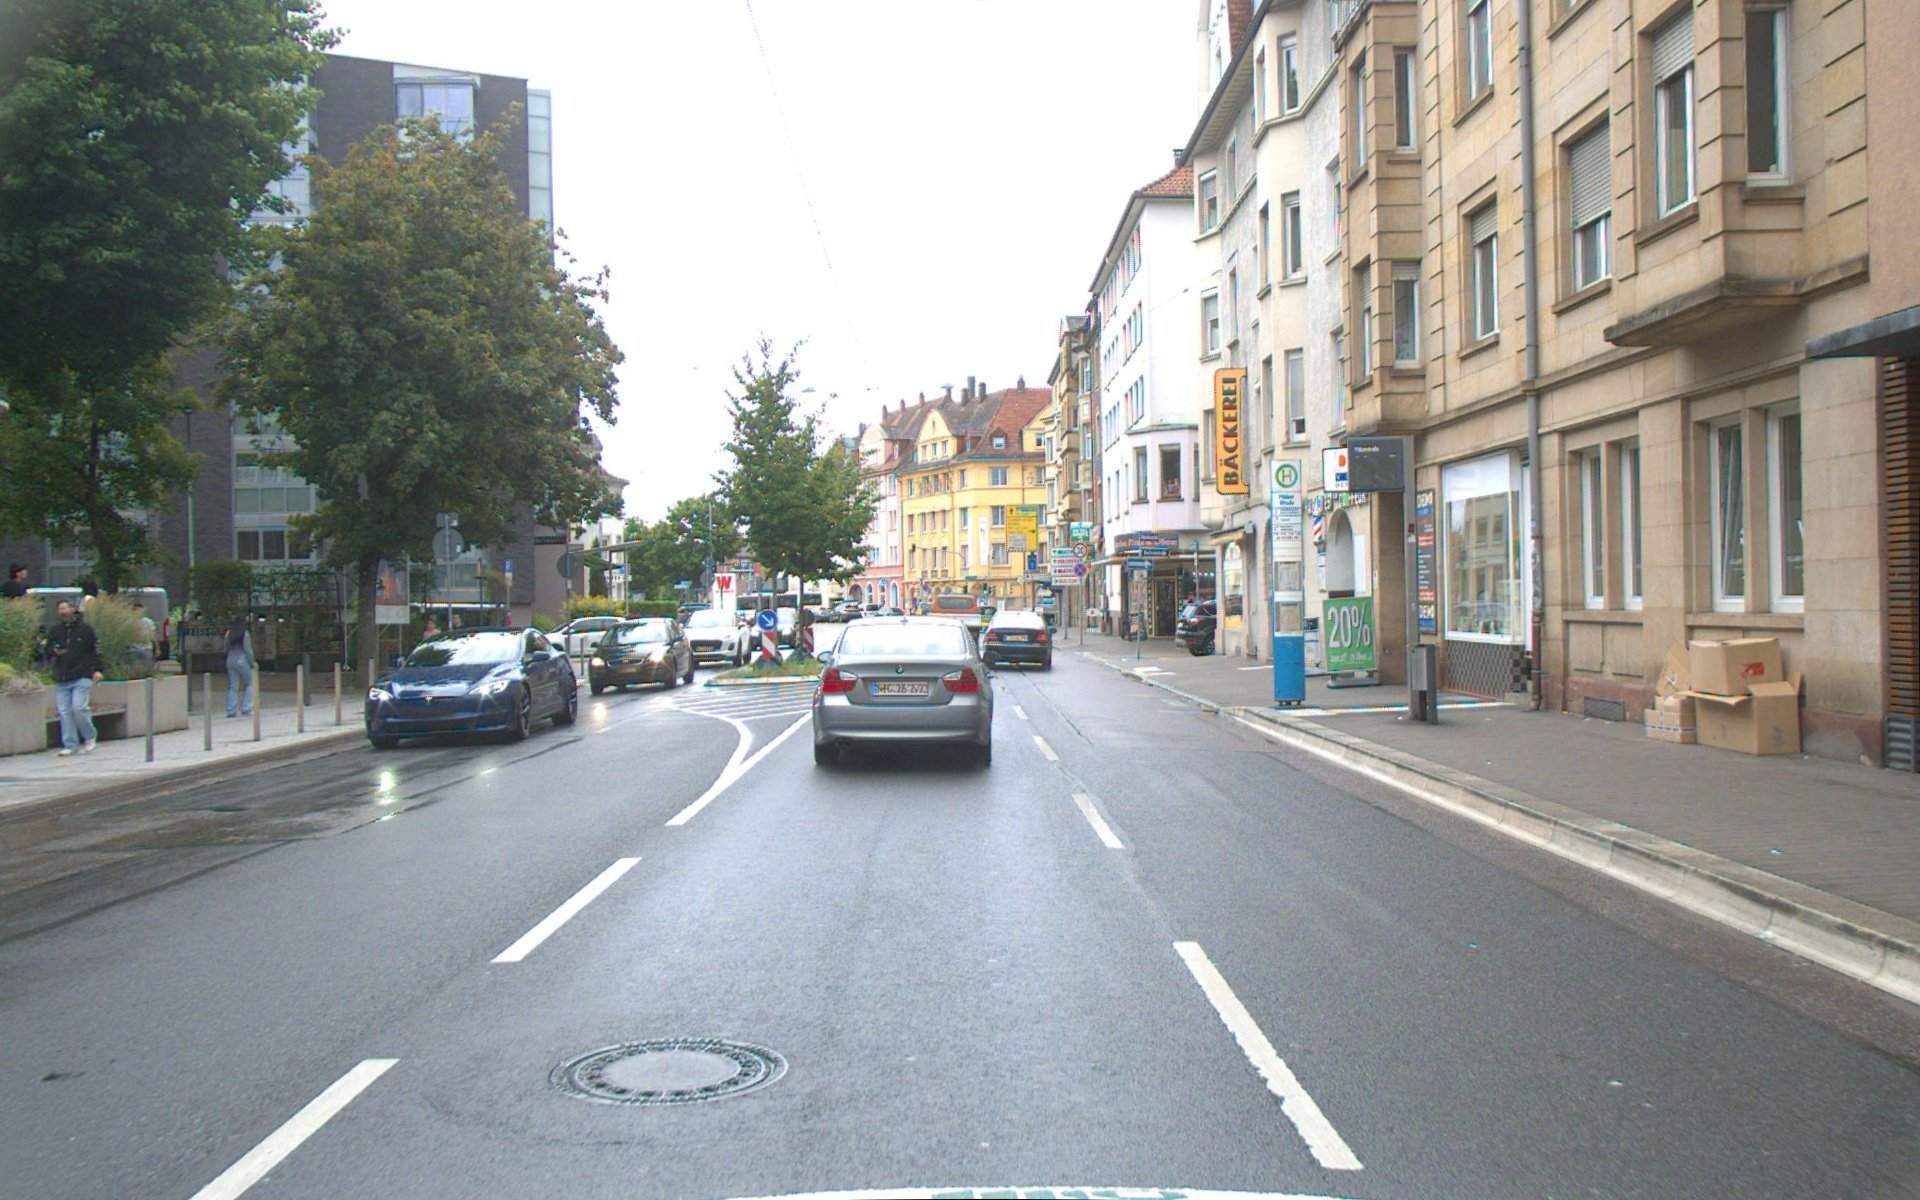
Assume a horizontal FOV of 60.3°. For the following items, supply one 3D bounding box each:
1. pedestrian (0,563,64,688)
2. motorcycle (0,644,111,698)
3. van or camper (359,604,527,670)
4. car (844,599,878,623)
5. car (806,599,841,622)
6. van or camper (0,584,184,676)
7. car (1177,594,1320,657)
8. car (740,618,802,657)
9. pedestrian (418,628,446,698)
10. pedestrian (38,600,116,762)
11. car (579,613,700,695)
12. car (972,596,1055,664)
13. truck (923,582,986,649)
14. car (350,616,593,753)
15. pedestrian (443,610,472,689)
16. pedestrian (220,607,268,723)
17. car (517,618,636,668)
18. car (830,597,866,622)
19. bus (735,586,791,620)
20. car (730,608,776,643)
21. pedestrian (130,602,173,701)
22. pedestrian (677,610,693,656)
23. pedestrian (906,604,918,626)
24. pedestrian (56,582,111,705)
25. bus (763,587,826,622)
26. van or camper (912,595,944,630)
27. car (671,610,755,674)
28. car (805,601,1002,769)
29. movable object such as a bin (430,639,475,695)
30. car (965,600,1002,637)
[{"bbox_3d":[-14.306,0.389,25.349,0.845,1.877,0.691,-1,-1,-15],"label":"pedestrian"},{"bbox_3d":[-18.631,1.445,34.039,2.009,1.005,0.797,2,0,14],"label":"motorcycle"},{"bbox_3d":[-16.734,1.156,53.617,4.900,2.049,1.980,0,0,-31],"label":"van or camper"},{"bbox_3d":[-9.353,1.060,156.301,1.740,2.218,3.967,2,-1,-26],"label":"car"},{"bbox_3d":[-12.228,0.934,148.011,1.966,2.049,3.973,-1,0,-22],"label":"car"},{"bbox_3d":[-22.974,0.786,43.390,4.554,2.306,2.189,2,0,-30],"label":"van or camper"},{"bbox_3d":[8.546,0.753,49.291,4.050,1.803,1.874,0,0,5],"label":"car"},{"bbox_3d":[-7.603,1.486,66.883,1.973,1.450,4.499,-2,0,-1],"label":"car"},{"bbox_3d":[-11.402,1.356,35.745,0.450,1.499,0.530,0,-1,-4],"label":"pedestrian"},{"bbox_3d":[-10.425,0.932,19.543,0.710,1.858,0.718,0,0,-20],"label":"pedestrian"},{"bbox_3d":[-6.780,1.094,35.373,1.916,1.584,4.241,-1,0,-3],"label":"car"},{"bbox_3d":[1.268,0.740,40.812,1.763,1.590,3.998,0,-1,-2],"label":"car"},{"bbox_3d":[-0.246,0.540,59.571,2.179,2.289,5.061,0,0,-1],"label":"truck"},{"bbox_3d":[-6.460,1.043,22.500,1.915,1.538,4.910,-2,0,-2],"label":"car"},{"bbox_3d":[-10.890,1.071,35.836,0.488,1.702,0.552,0,-1,-4],"label":"pedestrian"},{"bbox_3d":[-11.769,1.045,27.201,0.711,1.858,0.848,0,0,-23],"label":"pedestrian"},{"bbox_3d":[-12.919,1.429,55.762,3.546,1.597,1.720,0,0,-34],"label":"car"},{"bbox_3d":[-9.677,0.832,142.563,1.966,2.049,3.974,-1,0,-22],"label":"car"},{"bbox_3d":[-19.547,0.306,163.648,2.873,3.159,8.798,-1,0,-25],"label":"bus"},{"bbox_3d":[-11.058,1.338,88.161,1.915,1.688,4.043,3,0,-13],"label":"car"},{"bbox_3d":[-15.530,0.972,31.755,0.713,1.858,0.715,0,0,-29],"label":"pedestrian"},{"bbox_3d":[-10.849,1.295,65.201,0.563,1.793,0.580,-1,0,-7],"label":"pedestrian"},{"bbox_3d":[-3.532,1.080,120.642,0.750,1.556,0.505,1,-2,-22],"label":"pedestrian"},{"bbox_3d":[-13.037,0.634,24.614,0.646,1.790,0.715,-1,-1,-24],"label":"pedestrian"},{"bbox_3d":[-15.623,0.430,155.578,2.873,3.159,9.066,-1,0,-26],"label":"bus"},{"bbox_3d":[-2.092,0.816,107.380,1.818,2.184,4.139,1,0,-4],"label":"van or camper"},{"bbox_3d":[-6.858,1.145,46.229,1.783,1.596,4.087,-3,0,-2],"label":"car"},{"bbox_3d":[-0.510,0.831,17.062,1.762,1.490,4.370,0,-2,0],"label":"car"},{"bbox_3d":[-10.756,1.410,35.073,0.689,1.154,0.965,0,-1,-4],"label":"movable object such as a bin"},{"bbox_3d":[1.328,1.058,95.917,1.953,2.049,3.999,-1,0,-2],"label":"car"}]
